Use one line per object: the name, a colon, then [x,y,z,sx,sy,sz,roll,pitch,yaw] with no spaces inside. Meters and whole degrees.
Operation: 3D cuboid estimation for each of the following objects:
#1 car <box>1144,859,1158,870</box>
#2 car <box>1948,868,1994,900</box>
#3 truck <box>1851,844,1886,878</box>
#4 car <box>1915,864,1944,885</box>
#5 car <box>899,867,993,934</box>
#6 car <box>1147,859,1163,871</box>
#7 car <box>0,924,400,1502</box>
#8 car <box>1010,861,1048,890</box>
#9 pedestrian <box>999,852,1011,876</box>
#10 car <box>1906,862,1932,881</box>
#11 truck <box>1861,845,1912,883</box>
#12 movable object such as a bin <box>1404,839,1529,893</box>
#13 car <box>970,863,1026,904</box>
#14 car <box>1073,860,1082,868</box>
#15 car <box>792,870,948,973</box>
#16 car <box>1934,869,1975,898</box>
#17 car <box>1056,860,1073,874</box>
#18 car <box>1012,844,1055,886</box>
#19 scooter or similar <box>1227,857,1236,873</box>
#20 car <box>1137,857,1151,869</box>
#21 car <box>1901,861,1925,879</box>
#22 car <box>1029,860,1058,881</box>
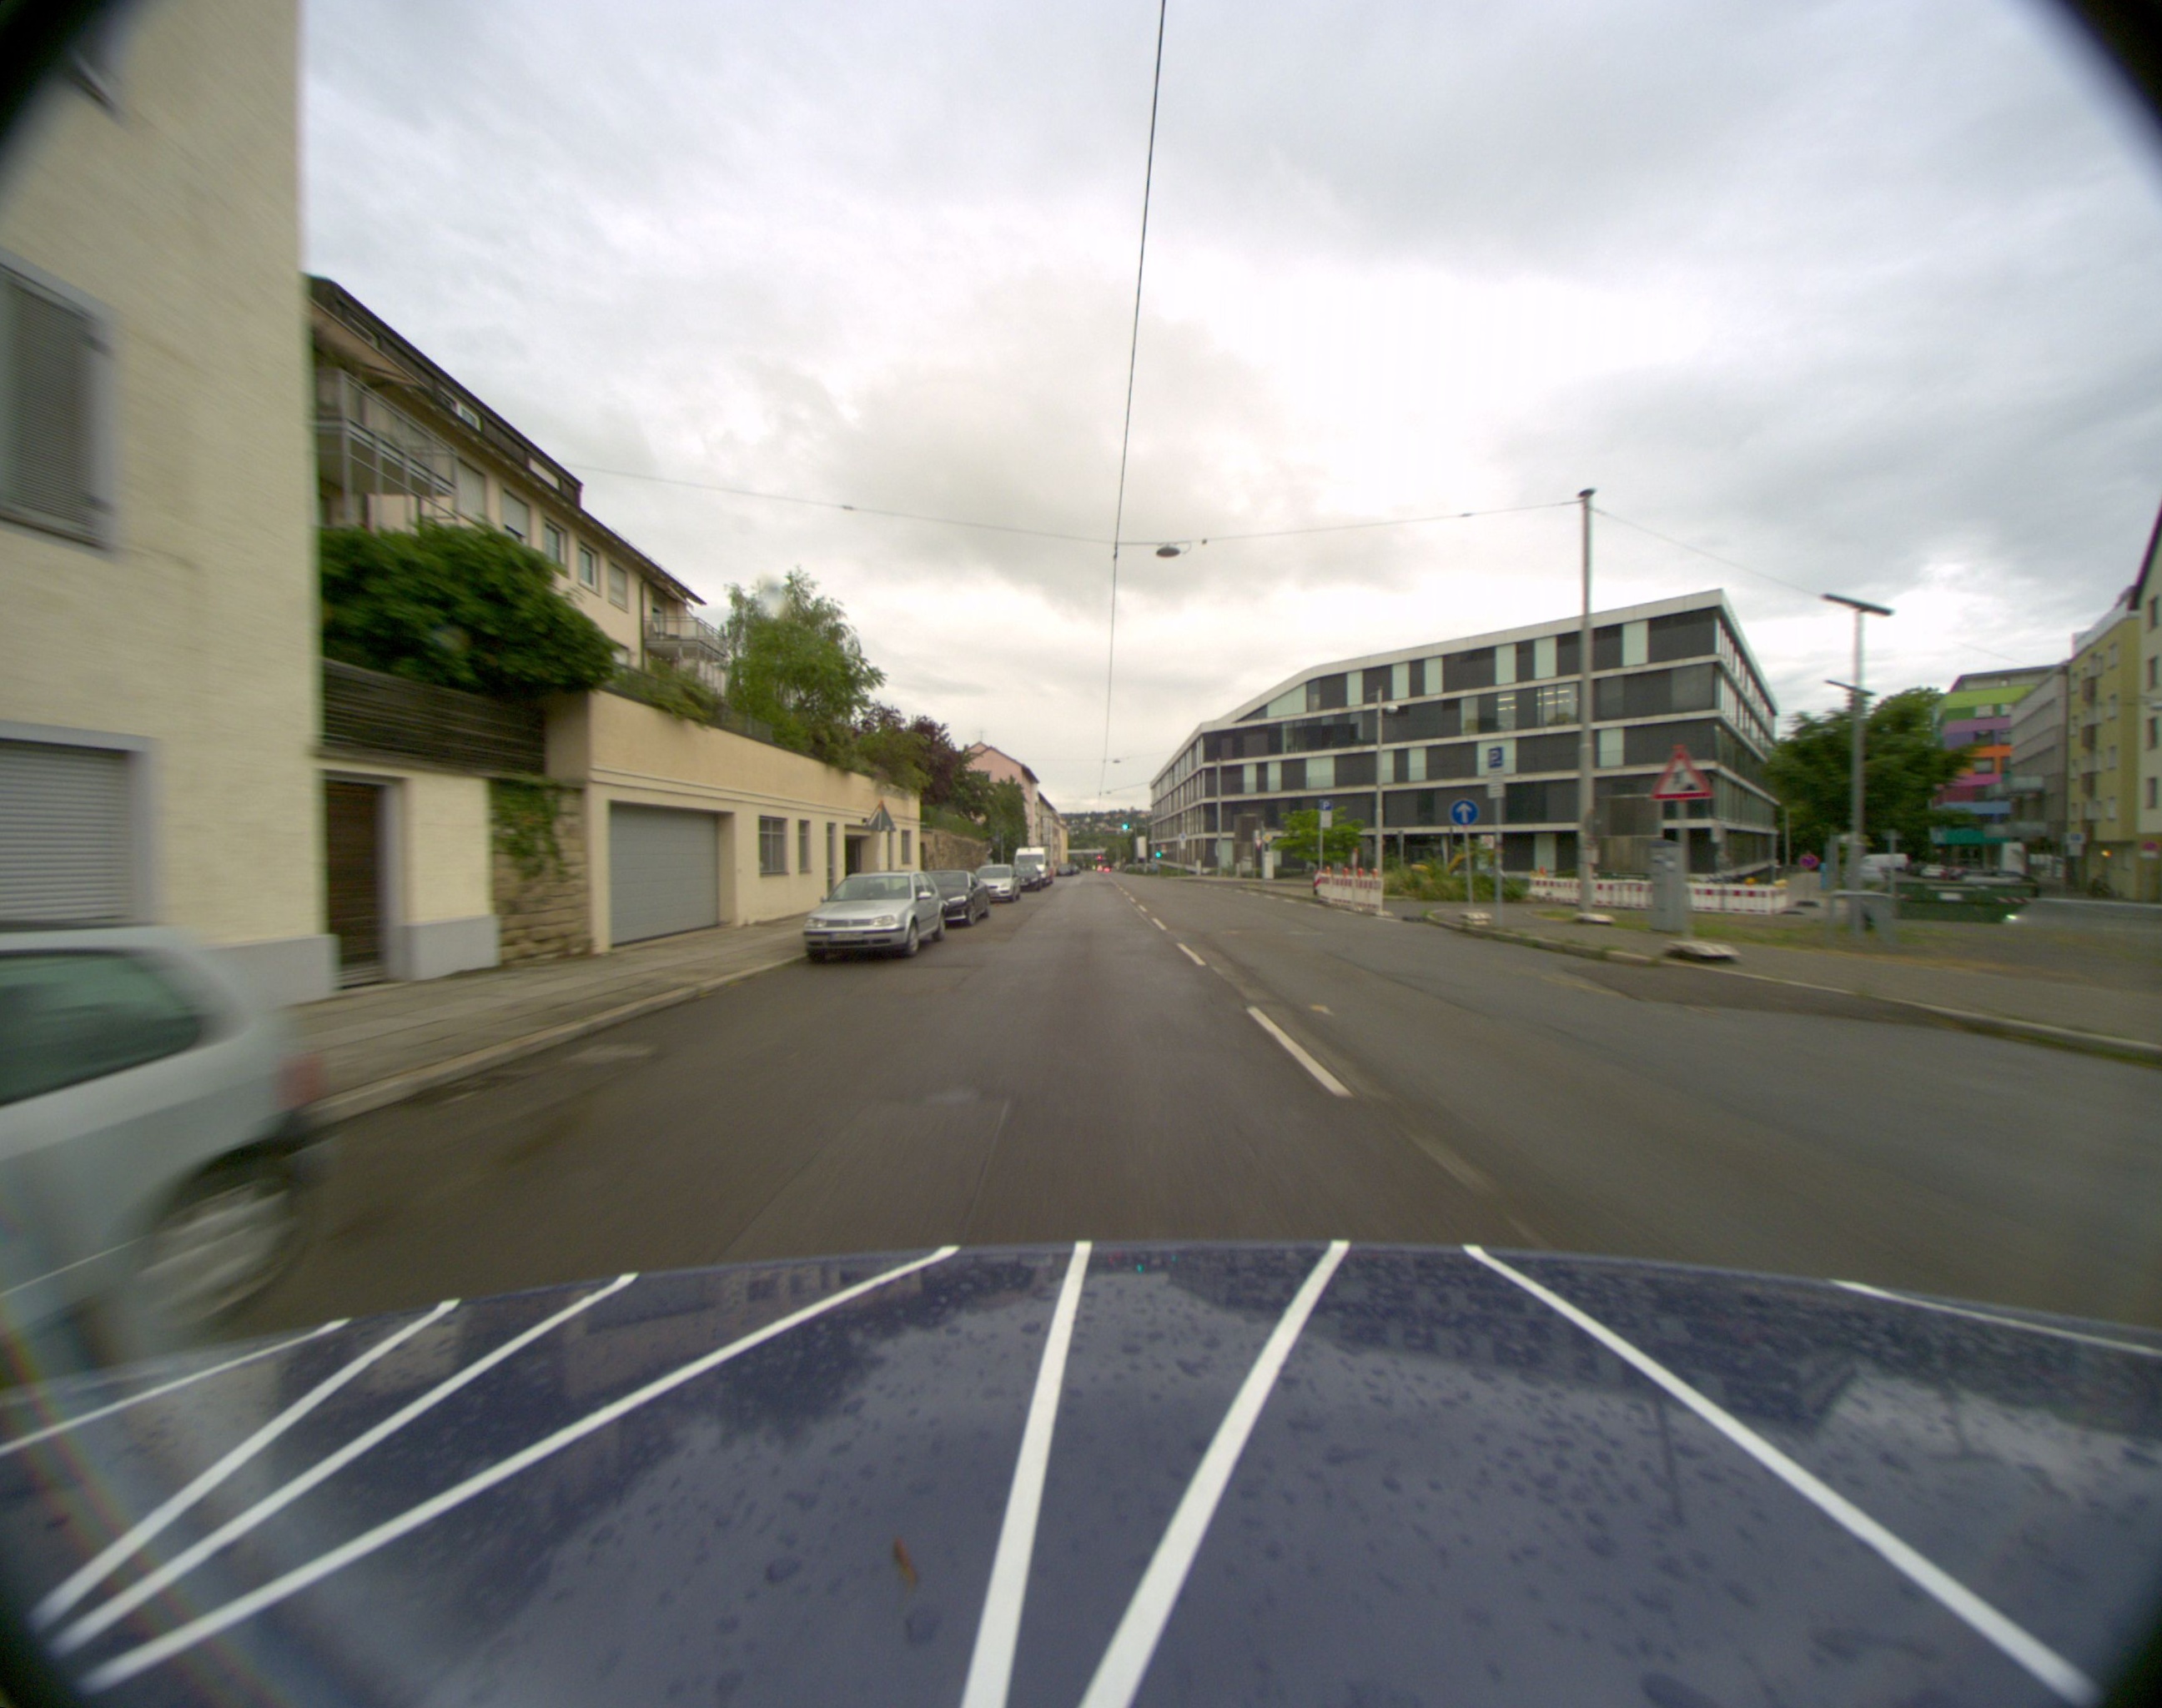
car: [9.297,1.348,101.626,1.641,1.458,3.584,0,0,2]
car: [63.388,2.108,54.178,1.795,2.141,4.009,1,-1,45]
truck: [105.041,0.993,101.446,2.991,4.336,8.019,1,-1,45]
car: [89.815,2.127,80.474,1.795,2.141,4.009,1,-1,45]
car: [-3.325,1.096,19.374,1.633,1.445,3.759,-2,0,0]
car: [9.379,1.354,96.567,1.641,1.458,3.584,0,0,-1]
car: [-3.702,1.036,1.333,1.562,1.445,3.759,-2,0,0]
car: [-2.821,1.163,41.799,1.693,1.445,4.235,-2,0,0]
pedestrian: [-5.434,0.712,54.496,0.725,1.705,0.905,1,0,2]
car: [96.863,2.058,87.875,1.795,2.141,4.009,1,-1,45]
truck: [119.335,1.602,112.775,4.808,5.366,13.936,1,-1,45]
movable object such as a bin: [18.890,0.553,37.438,1.674,2.445,5.274,-1,0,-38]
car: [-3.271,1.145,30.664,1.693,1.445,4.235,-2,0,0]
car: [-0.684,1.867,145.873,1.630,1.402,3.778,-1,0,2]
car: [-3.523,1.068,13.409,1.633,1.445,3.759,-2,0,0]
car: [68.938,2.312,60.003,1.795,2.141,4.009,1,-1,45]
car: [-2.057,1.664,97.277,1.796,1.510,4.513,-7,-1,1]
car: [-2.964,0.679,48.820,2.211,2.449,6.080,-2,0,1]
scooter or similar: [11.998,0.890,60.573,0.497,1.241,1.231,-2,1,2]
car: [9.365,1.332,113.229,1.886,1.580,4.364,-2,0,3]
car: [104.678,1.985,95.629,1.795,2.141,4.009,1,-1,45]
car: [-2.709,1.202,55.436,1.725,1.413,4.204,-2,0,2]
